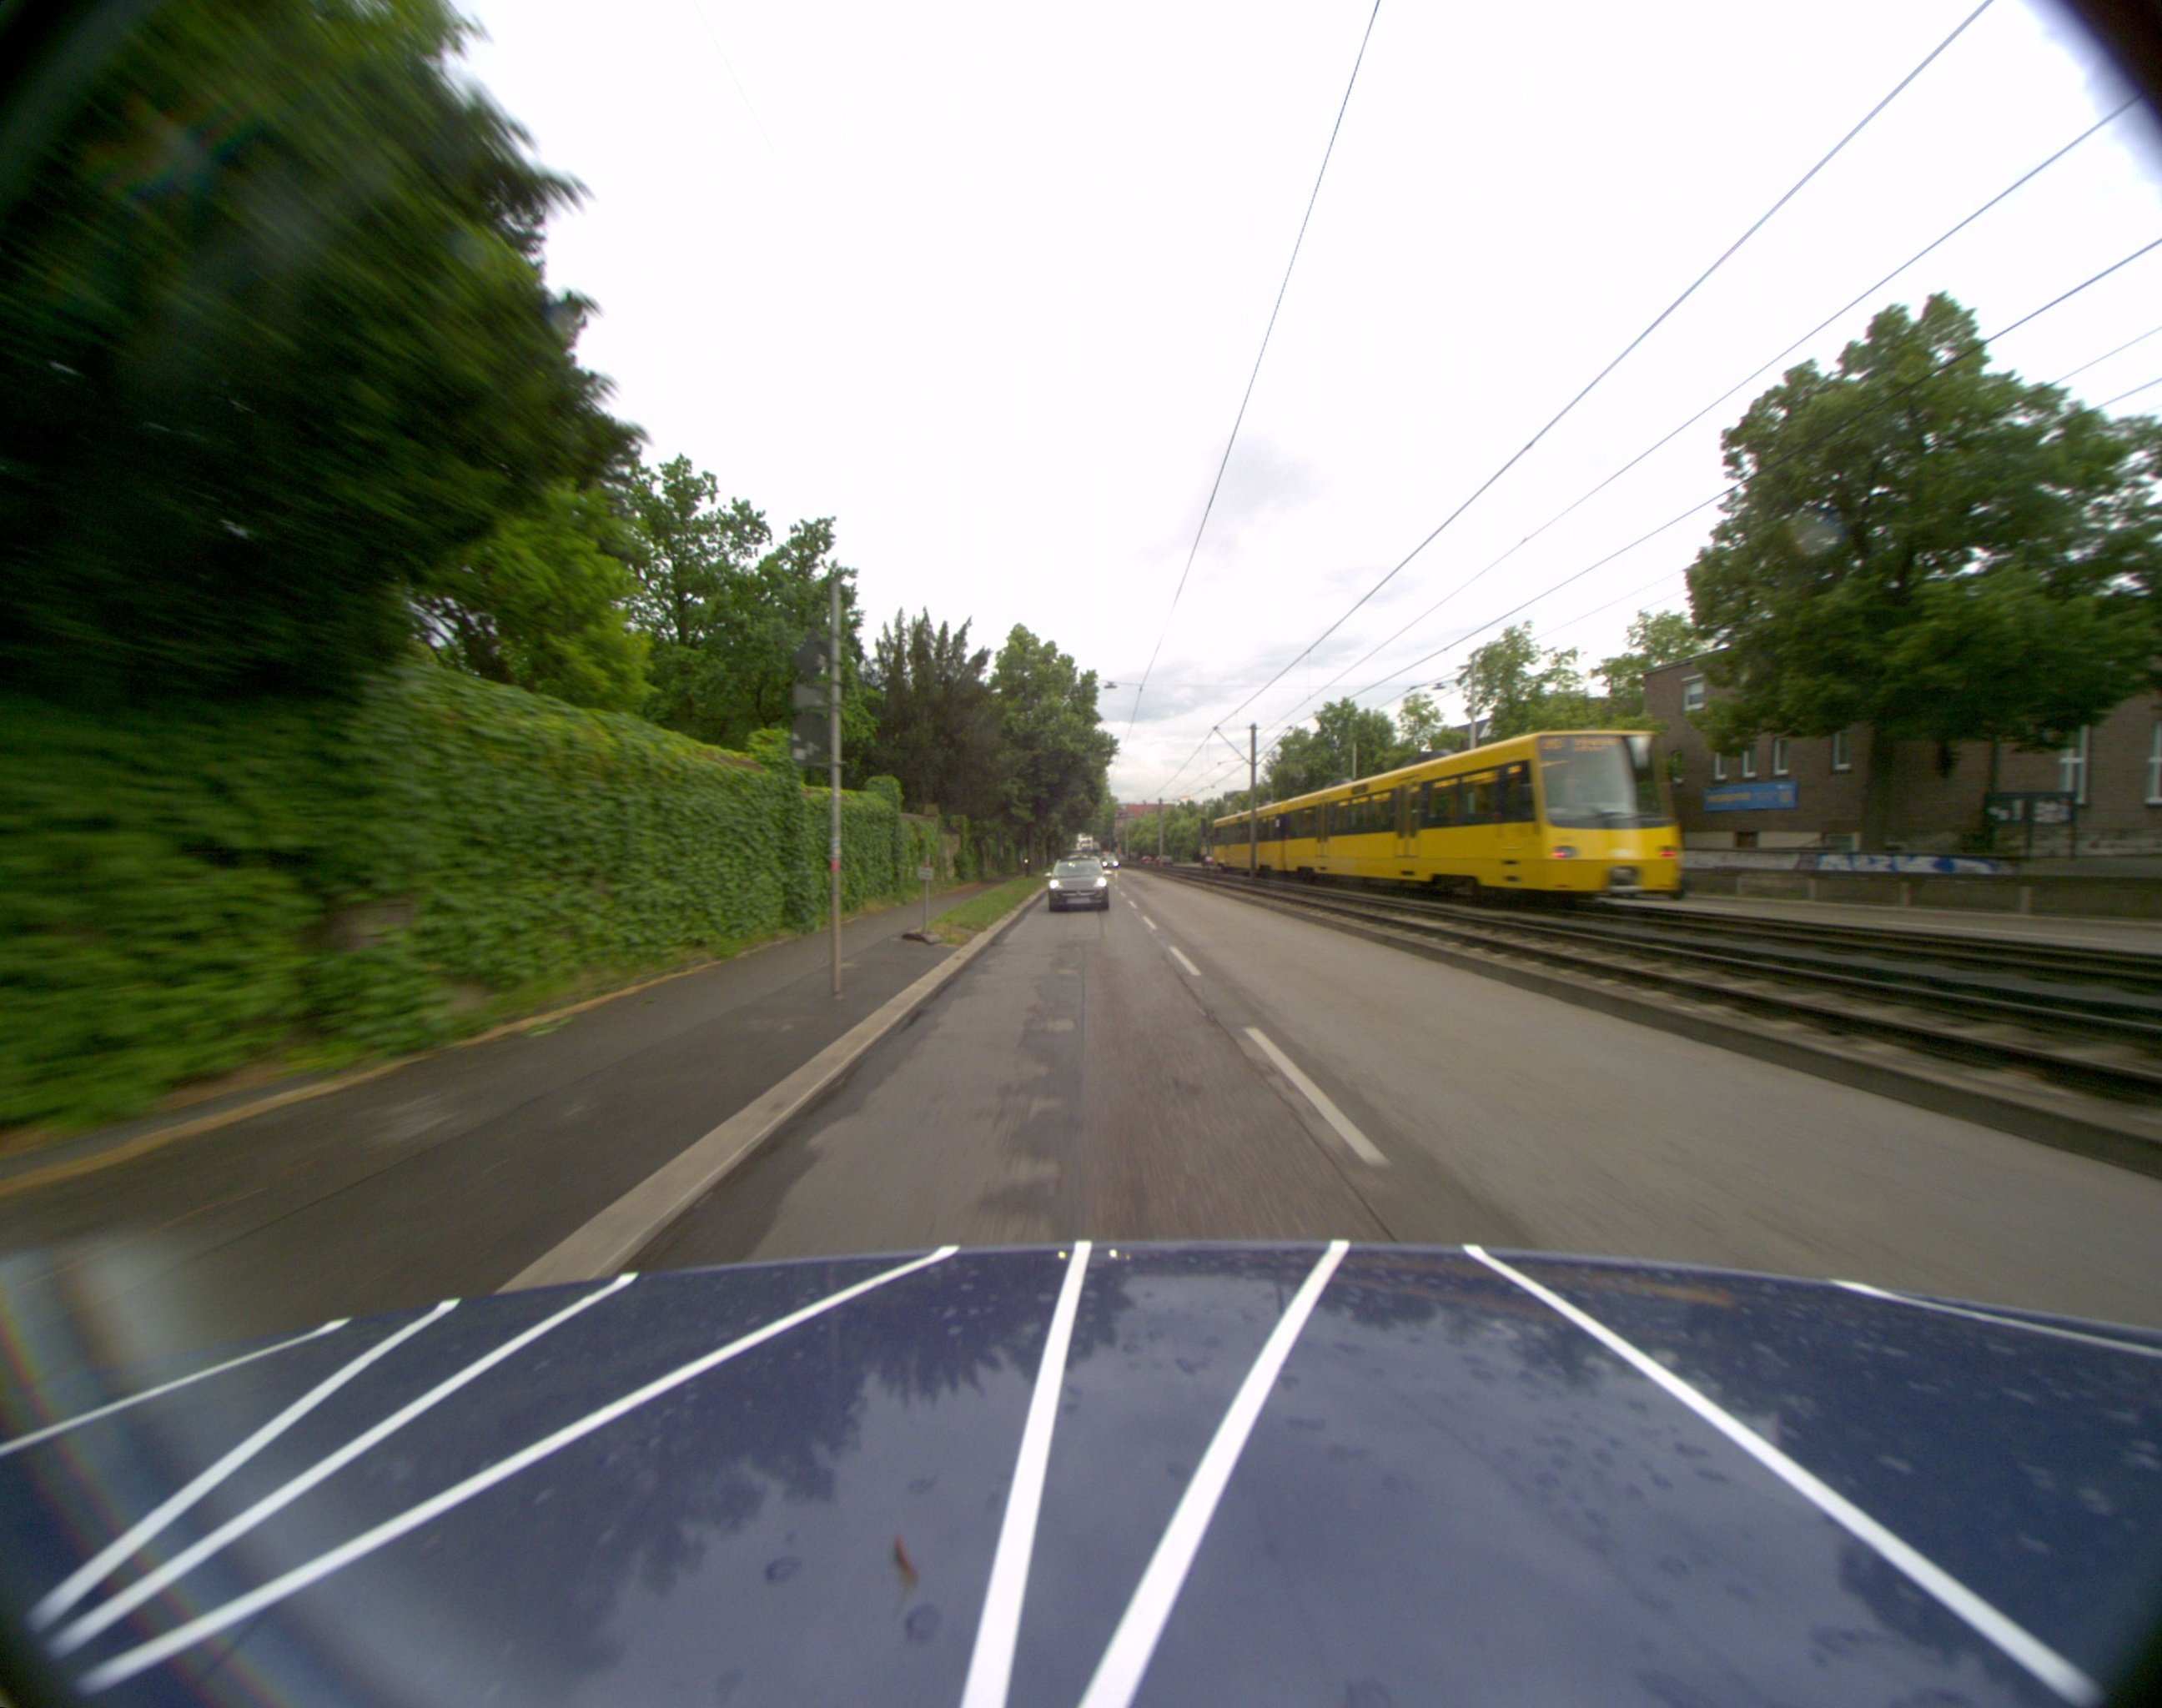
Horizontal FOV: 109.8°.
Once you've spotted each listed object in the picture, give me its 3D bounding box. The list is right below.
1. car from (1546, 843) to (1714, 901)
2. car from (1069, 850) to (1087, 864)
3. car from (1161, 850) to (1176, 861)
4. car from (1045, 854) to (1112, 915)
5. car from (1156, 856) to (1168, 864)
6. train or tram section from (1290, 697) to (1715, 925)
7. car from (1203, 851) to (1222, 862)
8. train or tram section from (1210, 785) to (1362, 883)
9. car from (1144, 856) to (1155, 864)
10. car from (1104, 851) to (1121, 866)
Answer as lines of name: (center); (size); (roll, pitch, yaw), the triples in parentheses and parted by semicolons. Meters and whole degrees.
car: (16.997, 0.495, 23.864); (1.999, 1.634, 4.410); (0, 0, -2)
car: (-0.328, 0.348, 86.097); (1.769, 1.502, 4.339); (-1, 0, -4)
car: (13.345, 0.185, 115.568); (1.692, 1.628, 4.340); (-1, 0, -1)
car: (-0.023, 0.828, 22.825); (1.746, 1.544, 4.493); (-3, 0, 1)
car: (15.225, 1.073, 143.306); (1.769, 1.502, 4.340); (-1, 0, -1)
train or tram section: (9.881, -0.786, 22.321); (2.835, 3.953, 17.876); (-1, 0, 1)
car: (19.451, 0.349, 112.622); (1.958, 1.493, 4.340); (-1, 0, -1)
train or tram section: (10.056, -0.833, 41.057); (2.835, 3.953, 20.026); (-1, 0, 0)
car: (12.704, 1.076, 141.170); (1.692, 1.385, 4.340); (-1, 0, -1)
car: (3.325, 0.440, 80.302); (1.768, 1.502, 4.341); (-1, 0, 2)
